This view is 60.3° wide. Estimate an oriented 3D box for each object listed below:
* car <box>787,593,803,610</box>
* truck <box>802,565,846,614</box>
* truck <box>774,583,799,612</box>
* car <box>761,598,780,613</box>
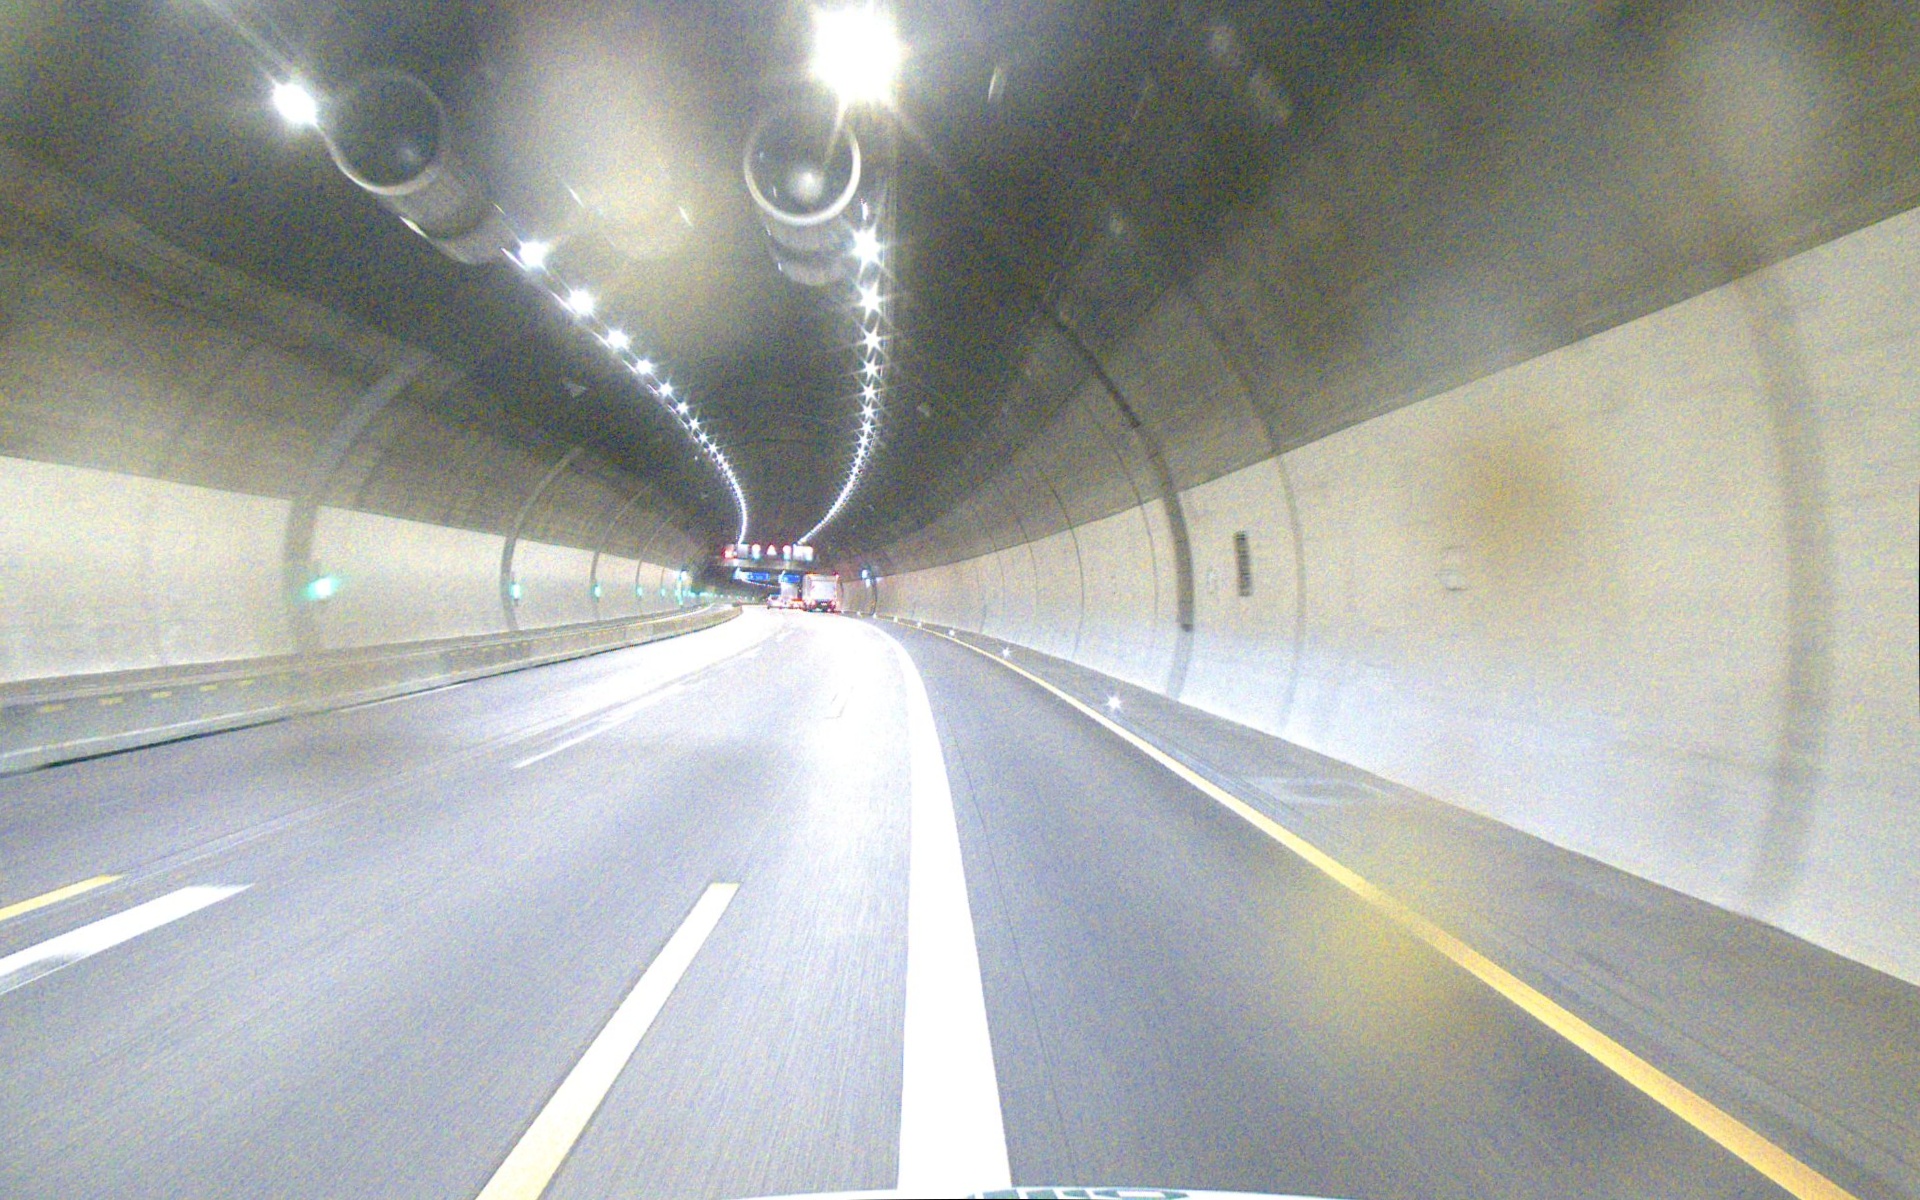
[{"bbox_3d":[-21.691,0.199,217.642,1.955,2.049,3.995,2,0,-6],"label":"car"},{"bbox_3d":[-13.176,-1.045,158.953,3.409,4.391,10.932,2,0,-8],"label":"truck"},{"bbox_3d":[-26.953,-0.372,257.233,3.409,4.391,10.931,1,0,-8],"label":"truck"},{"bbox_3d":[-21.637,0.625,188.681,1.957,1.609,3.992,3,0,-9],"label":"car"}]
